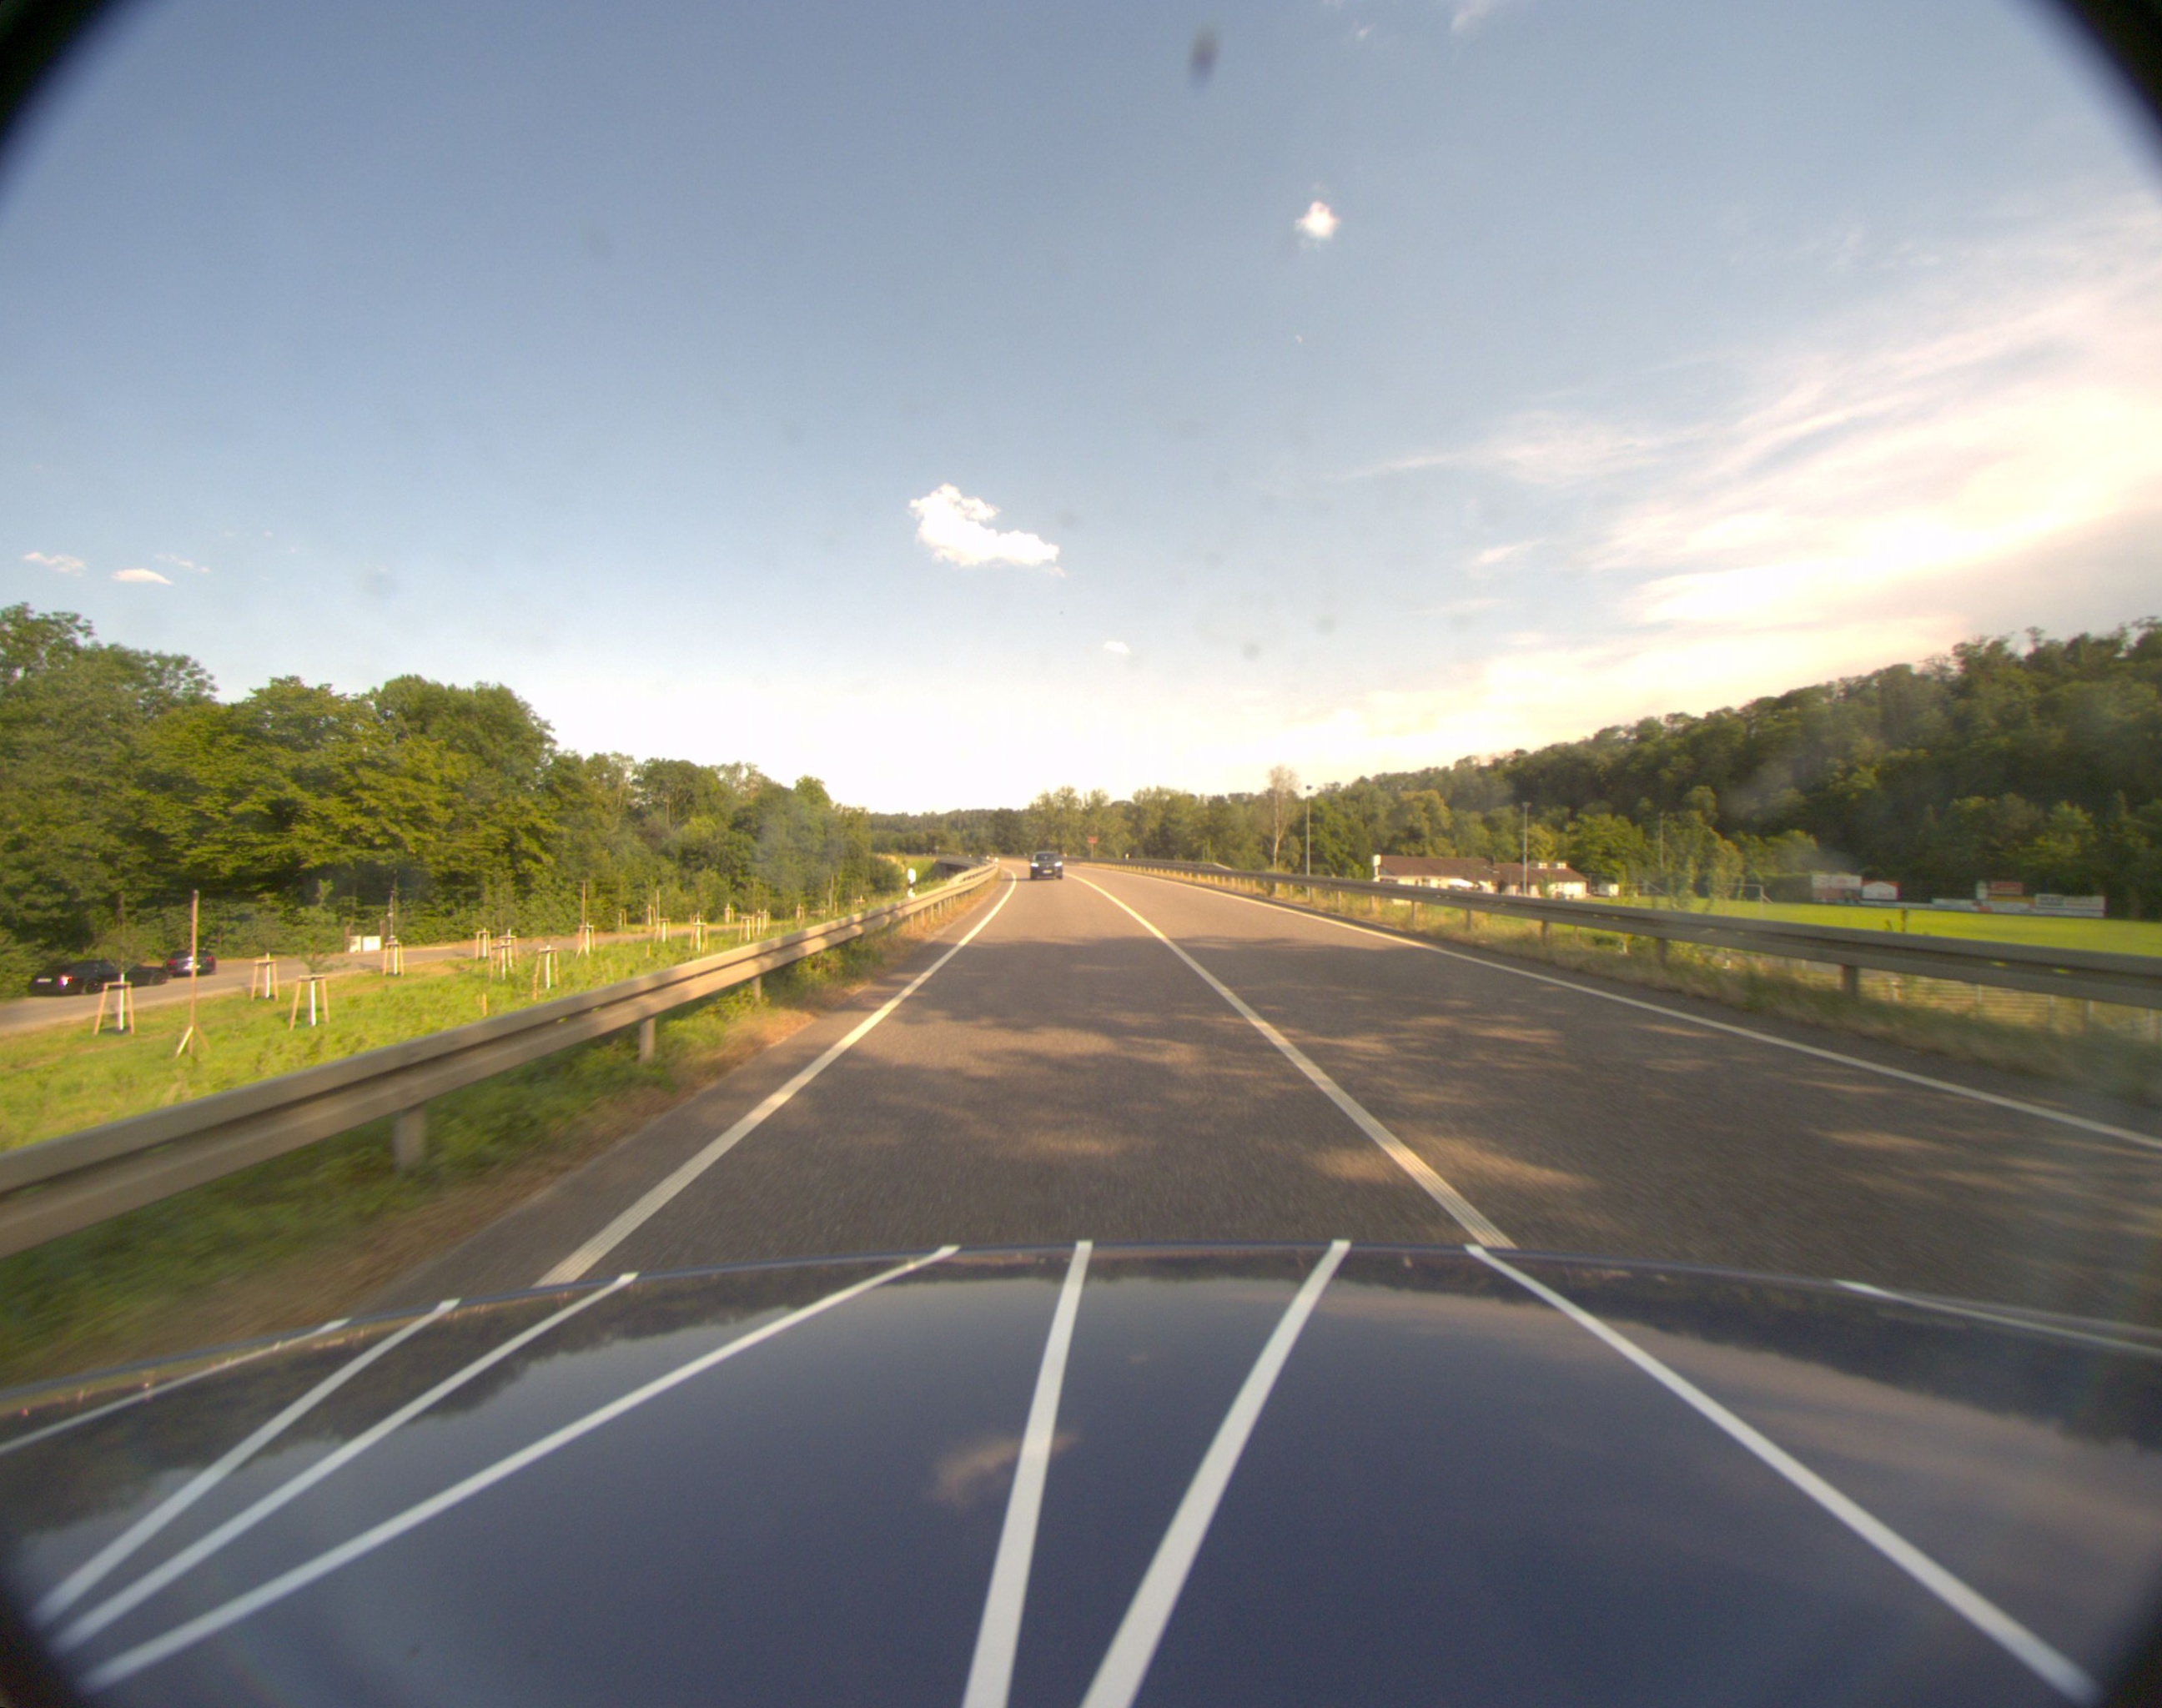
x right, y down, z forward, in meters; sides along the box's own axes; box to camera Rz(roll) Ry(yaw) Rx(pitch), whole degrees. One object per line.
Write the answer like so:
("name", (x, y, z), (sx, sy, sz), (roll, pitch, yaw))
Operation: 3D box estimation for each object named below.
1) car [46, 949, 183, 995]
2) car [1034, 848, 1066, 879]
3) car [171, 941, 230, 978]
("car", (-45.064, 5.467, 35.566), (1.659, 1.488, 3.826), (-1, 1, -6))
("car", (-1.840, 0.495, 44.887), (1.751, 1.645, 4.304), (-1, 1, -2))
("car", (-46.876, 5.574, 40.429), (3.674, 1.488, 1.663), (0, 1, 35))
